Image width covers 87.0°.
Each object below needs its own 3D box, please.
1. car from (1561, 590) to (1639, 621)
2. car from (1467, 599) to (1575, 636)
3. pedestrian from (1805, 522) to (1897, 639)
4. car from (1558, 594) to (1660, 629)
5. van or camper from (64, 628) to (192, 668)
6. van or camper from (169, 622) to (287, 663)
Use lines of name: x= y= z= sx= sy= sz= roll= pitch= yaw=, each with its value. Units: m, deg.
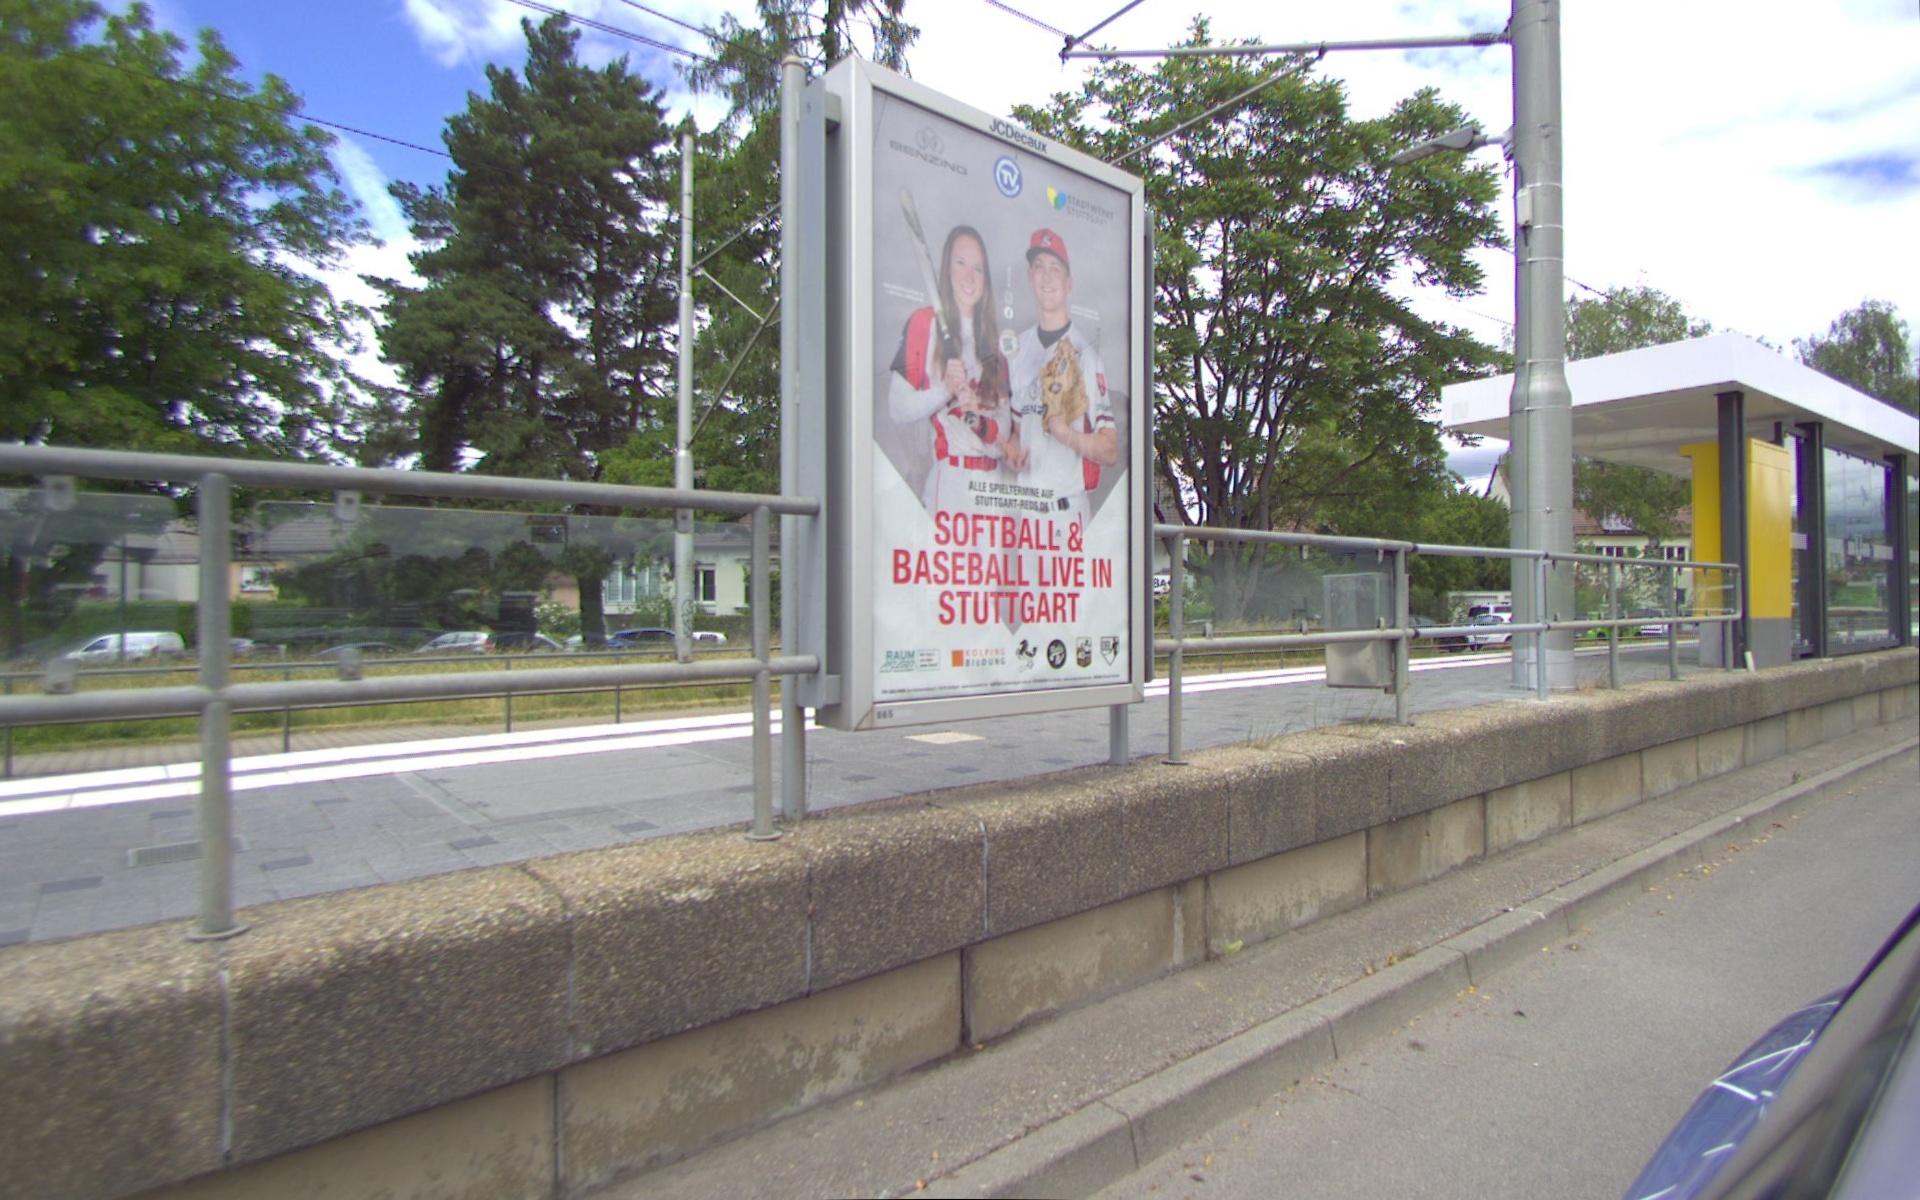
car: x=41.538 y=0.358 z=65.718 sx=4.146 sy=1.886 sz=2.004 roll=-1 pitch=-1 yaw=-17
car: x=21.994 y=0.664 z=39.638 sx=3.921 sy=1.366 sz=2.001 roll=-1 pitch=-1 yaw=-31
pedestrian: x=10.503 y=-0.225 z=11.933 sx=0.678 sy=1.328 sz=0.655 roll=0 pitch=-1 yaw=-35
car: x=26.775 y=0.469 z=41.721 sx=3.921 sy=1.366 sz=2.001 roll=-1 pitch=-1 yaw=-31
van or camper: x=-37.623 y=2.152 z=45.837 sx=4.250 sy=1.672 sz=1.999 roll=-1 pitch=-1 yaw=1
van or camper: x=-32.843 y=1.897 z=45.481 sx=3.985 sy=1.672 sz=1.998 roll=-1 pitch=-1 yaw=4
